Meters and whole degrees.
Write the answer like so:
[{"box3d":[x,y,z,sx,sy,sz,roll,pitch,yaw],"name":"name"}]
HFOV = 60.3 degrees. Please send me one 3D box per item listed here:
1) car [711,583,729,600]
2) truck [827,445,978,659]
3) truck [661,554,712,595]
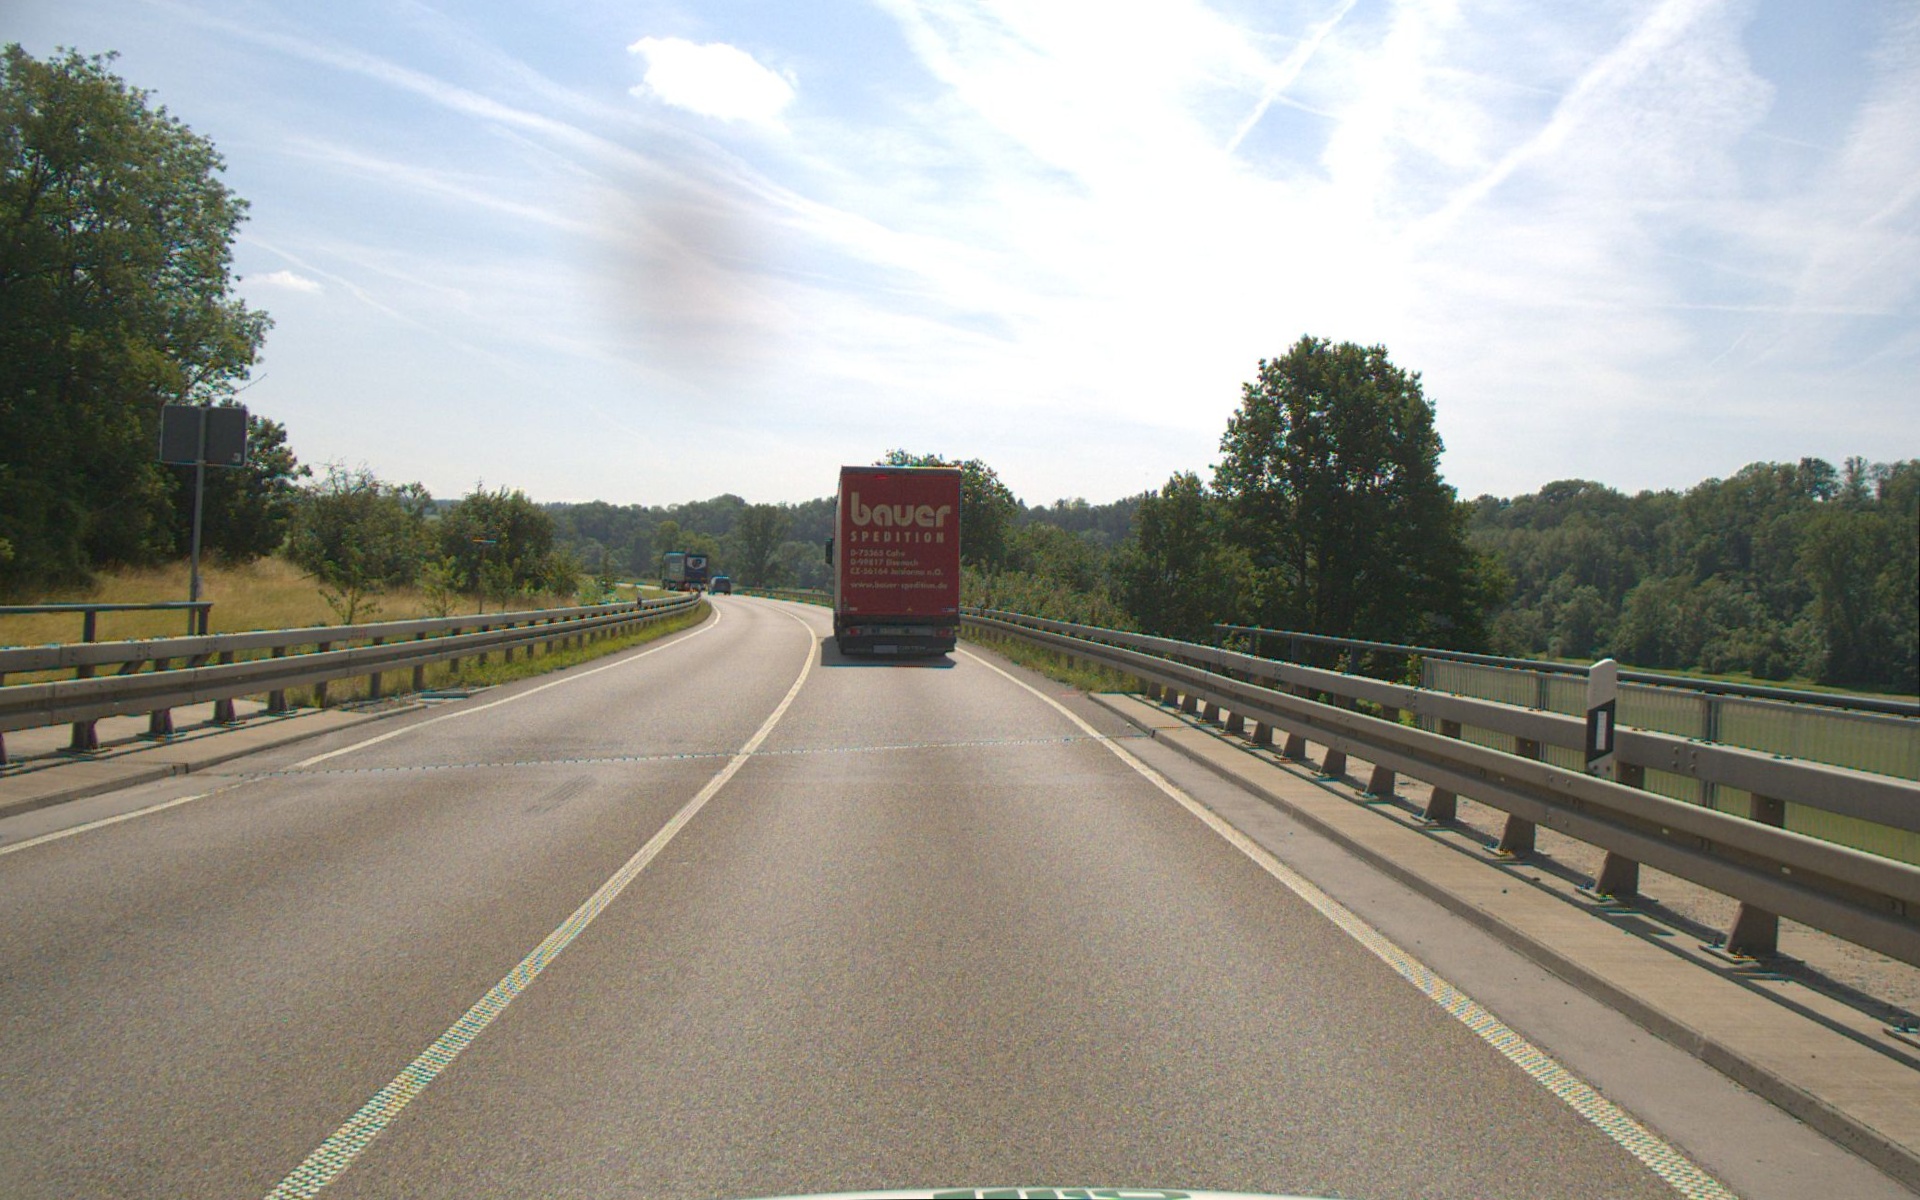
[{"box3d":[-23.003,-0.857,158.513,1.553,1.527,3.866,1,1,-11],"name":"car"},{"box3d":[-1.426,-1.019,37.932,3.033,4.337,8.308,1,0,-4],"name":"truck"},{"box3d":[-30.449,-2.812,183.876,3.585,4.367,11.919,1,0,-19],"name":"truck"}]
